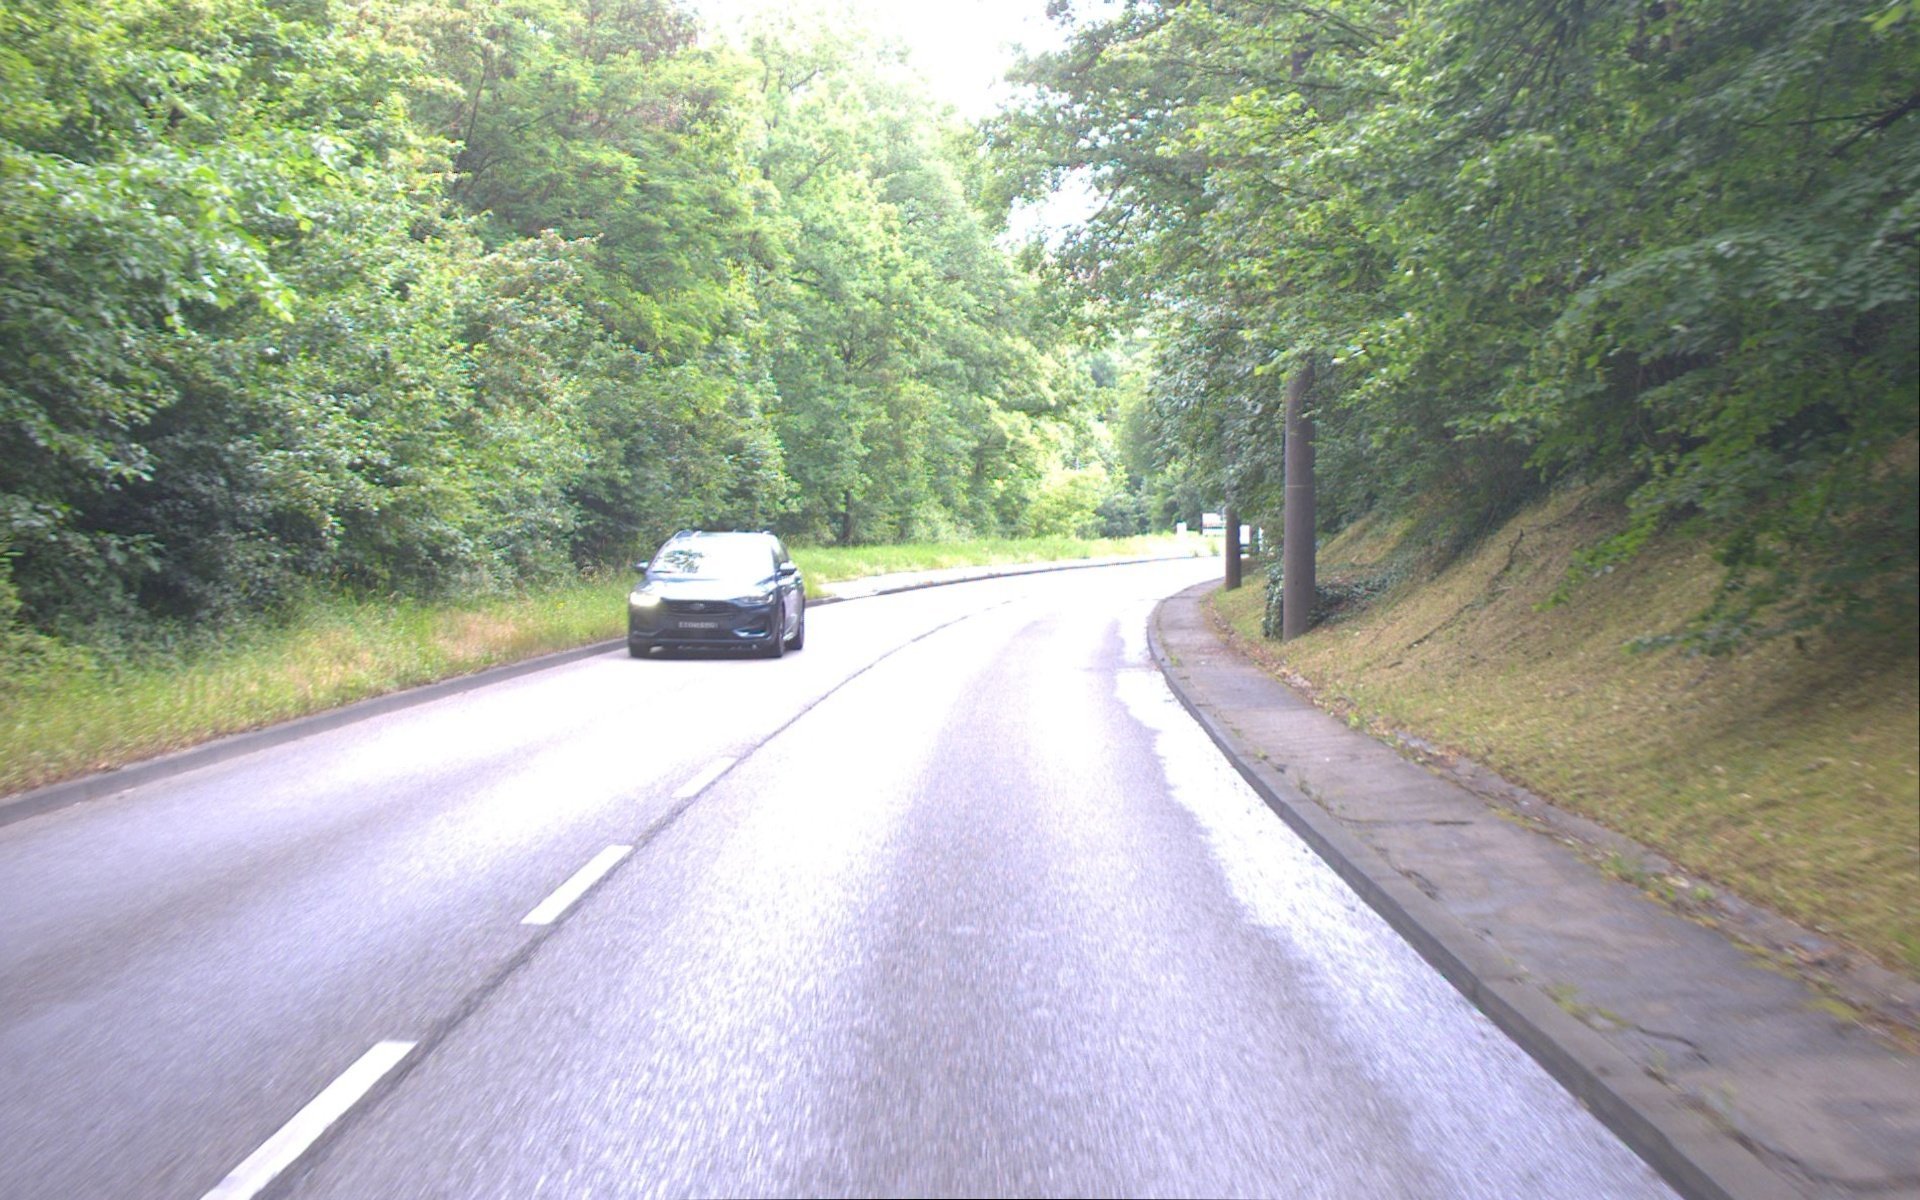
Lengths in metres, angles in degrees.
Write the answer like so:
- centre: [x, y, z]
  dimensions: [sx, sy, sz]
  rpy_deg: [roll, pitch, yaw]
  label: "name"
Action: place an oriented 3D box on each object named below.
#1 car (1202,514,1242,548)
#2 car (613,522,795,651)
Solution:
- centre: [14.271, -3.739, 187.285]
  dimensions: [1.994, 1.747, 4.781]
  rpy_deg: [1, 0, 6]
  label: "car"
- centre: [-3.129, -0.171, 41.370]
  dimensions: [1.993, 1.432, 4.001]
  rpy_deg: [1, 0, -6]
  label: "car"
